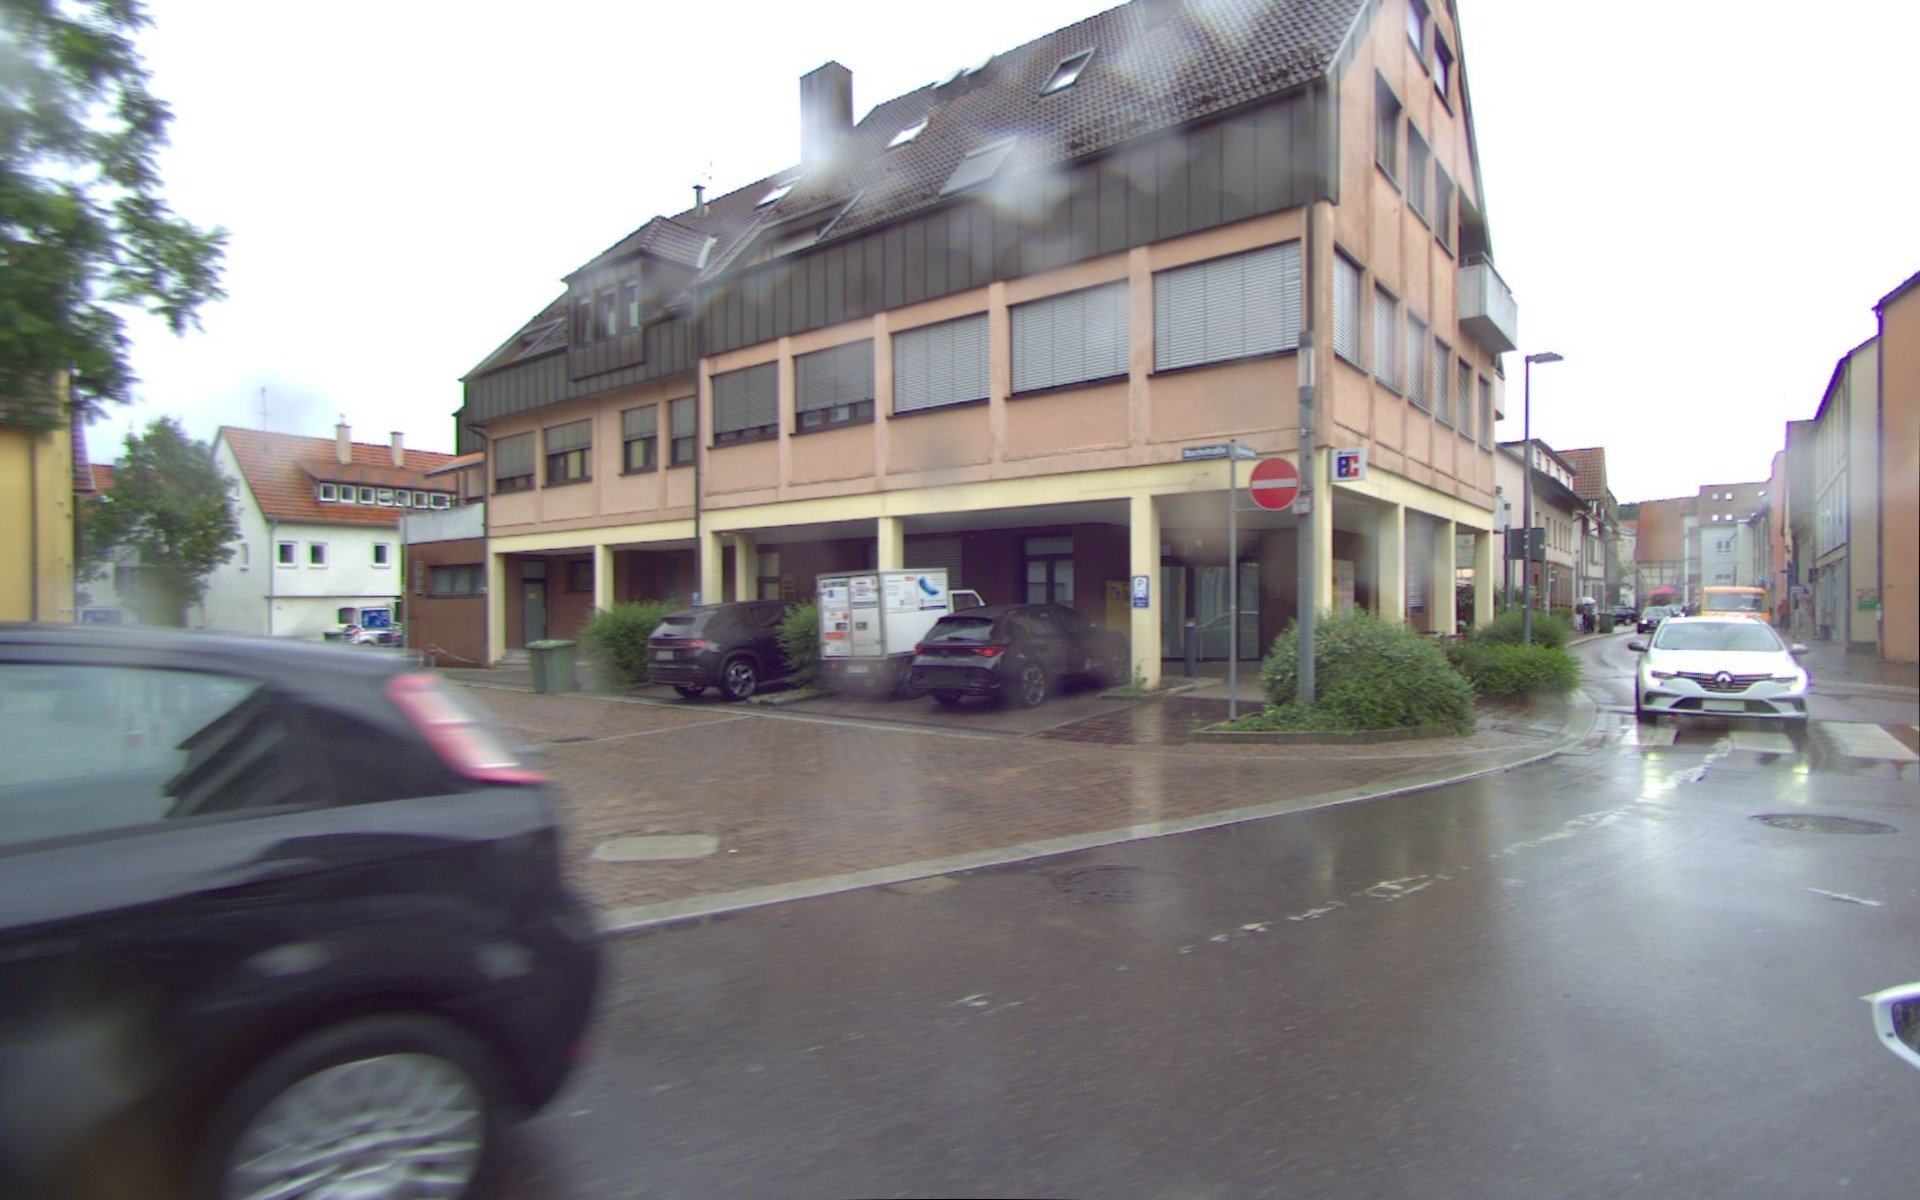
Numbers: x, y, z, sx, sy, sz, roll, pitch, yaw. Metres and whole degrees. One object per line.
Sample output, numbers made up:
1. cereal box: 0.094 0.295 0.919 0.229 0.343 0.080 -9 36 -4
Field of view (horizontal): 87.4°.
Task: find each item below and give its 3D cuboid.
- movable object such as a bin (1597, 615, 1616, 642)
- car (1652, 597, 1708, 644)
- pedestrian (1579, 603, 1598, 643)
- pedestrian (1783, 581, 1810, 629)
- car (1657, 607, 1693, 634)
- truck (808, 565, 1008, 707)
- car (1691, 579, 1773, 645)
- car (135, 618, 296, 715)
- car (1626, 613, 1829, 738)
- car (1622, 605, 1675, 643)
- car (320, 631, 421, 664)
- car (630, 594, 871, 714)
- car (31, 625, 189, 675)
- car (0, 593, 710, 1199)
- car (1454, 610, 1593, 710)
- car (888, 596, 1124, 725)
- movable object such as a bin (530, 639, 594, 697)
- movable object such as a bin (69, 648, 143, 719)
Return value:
1. movable object such as a bin: 34.651 1.526 53.830 0.822 1.400 0.852 -1 -1 33
2. car: 35.674 1.054 49.762 2.077 2.174 4.849 -3 -3 36
3. pedestrian: 32.580 1.169 52.059 0.822 2.040 0.852 -1 -1 33
4. pedestrian: 36.604 0.226 43.959 0.855 2.040 0.705 0 -1 35
5. car: 56.194 1.615 78.947 1.970 2.040 3.981 -3 -3 40
6. truck: -0.812 0.540 17.165 1.578 2.090 3.177 -3 2 40
7. car: 27.640 0.492 36.098 2.076 2.174 4.851 -3 -3 36
8. car: -14.180 1.174 19.053 3.945 1.639 1.807 -1 -2 44
9. car: 10.619 0.922 14.022 1.968 1.460 4.148 -1 -1 37
10. car: 38.710 1.362 56.436 1.970 2.040 4.342 -3 -3 40
11. car: -27.134 2.166 46.265 3.759 1.394 1.781 1 -1 -43
12. car: -3.790 0.894 18.663 1.793 1.640 3.975 -1 5 44
13. car: -29.694 1.697 35.160 1.791 1.639 3.981 -1 -2 40
14. car: -2.703 0.743 2.072 3.944 1.464 1.638 1 -2 -35
15. car: 9.719 0.934 17.186 1.692 1.477 3.897 1 0 35
16. car: 0.819 0.814 15.400 1.560 1.499 3.803 0 3 41
17. movable object such as a bin: -8.390 1.420 21.158 0.917 1.111 0.991 -4 0 -41
18. movable object such as a bin: -14.435 1.397 16.995 0.917 1.111 0.991 -1 -2 -41
